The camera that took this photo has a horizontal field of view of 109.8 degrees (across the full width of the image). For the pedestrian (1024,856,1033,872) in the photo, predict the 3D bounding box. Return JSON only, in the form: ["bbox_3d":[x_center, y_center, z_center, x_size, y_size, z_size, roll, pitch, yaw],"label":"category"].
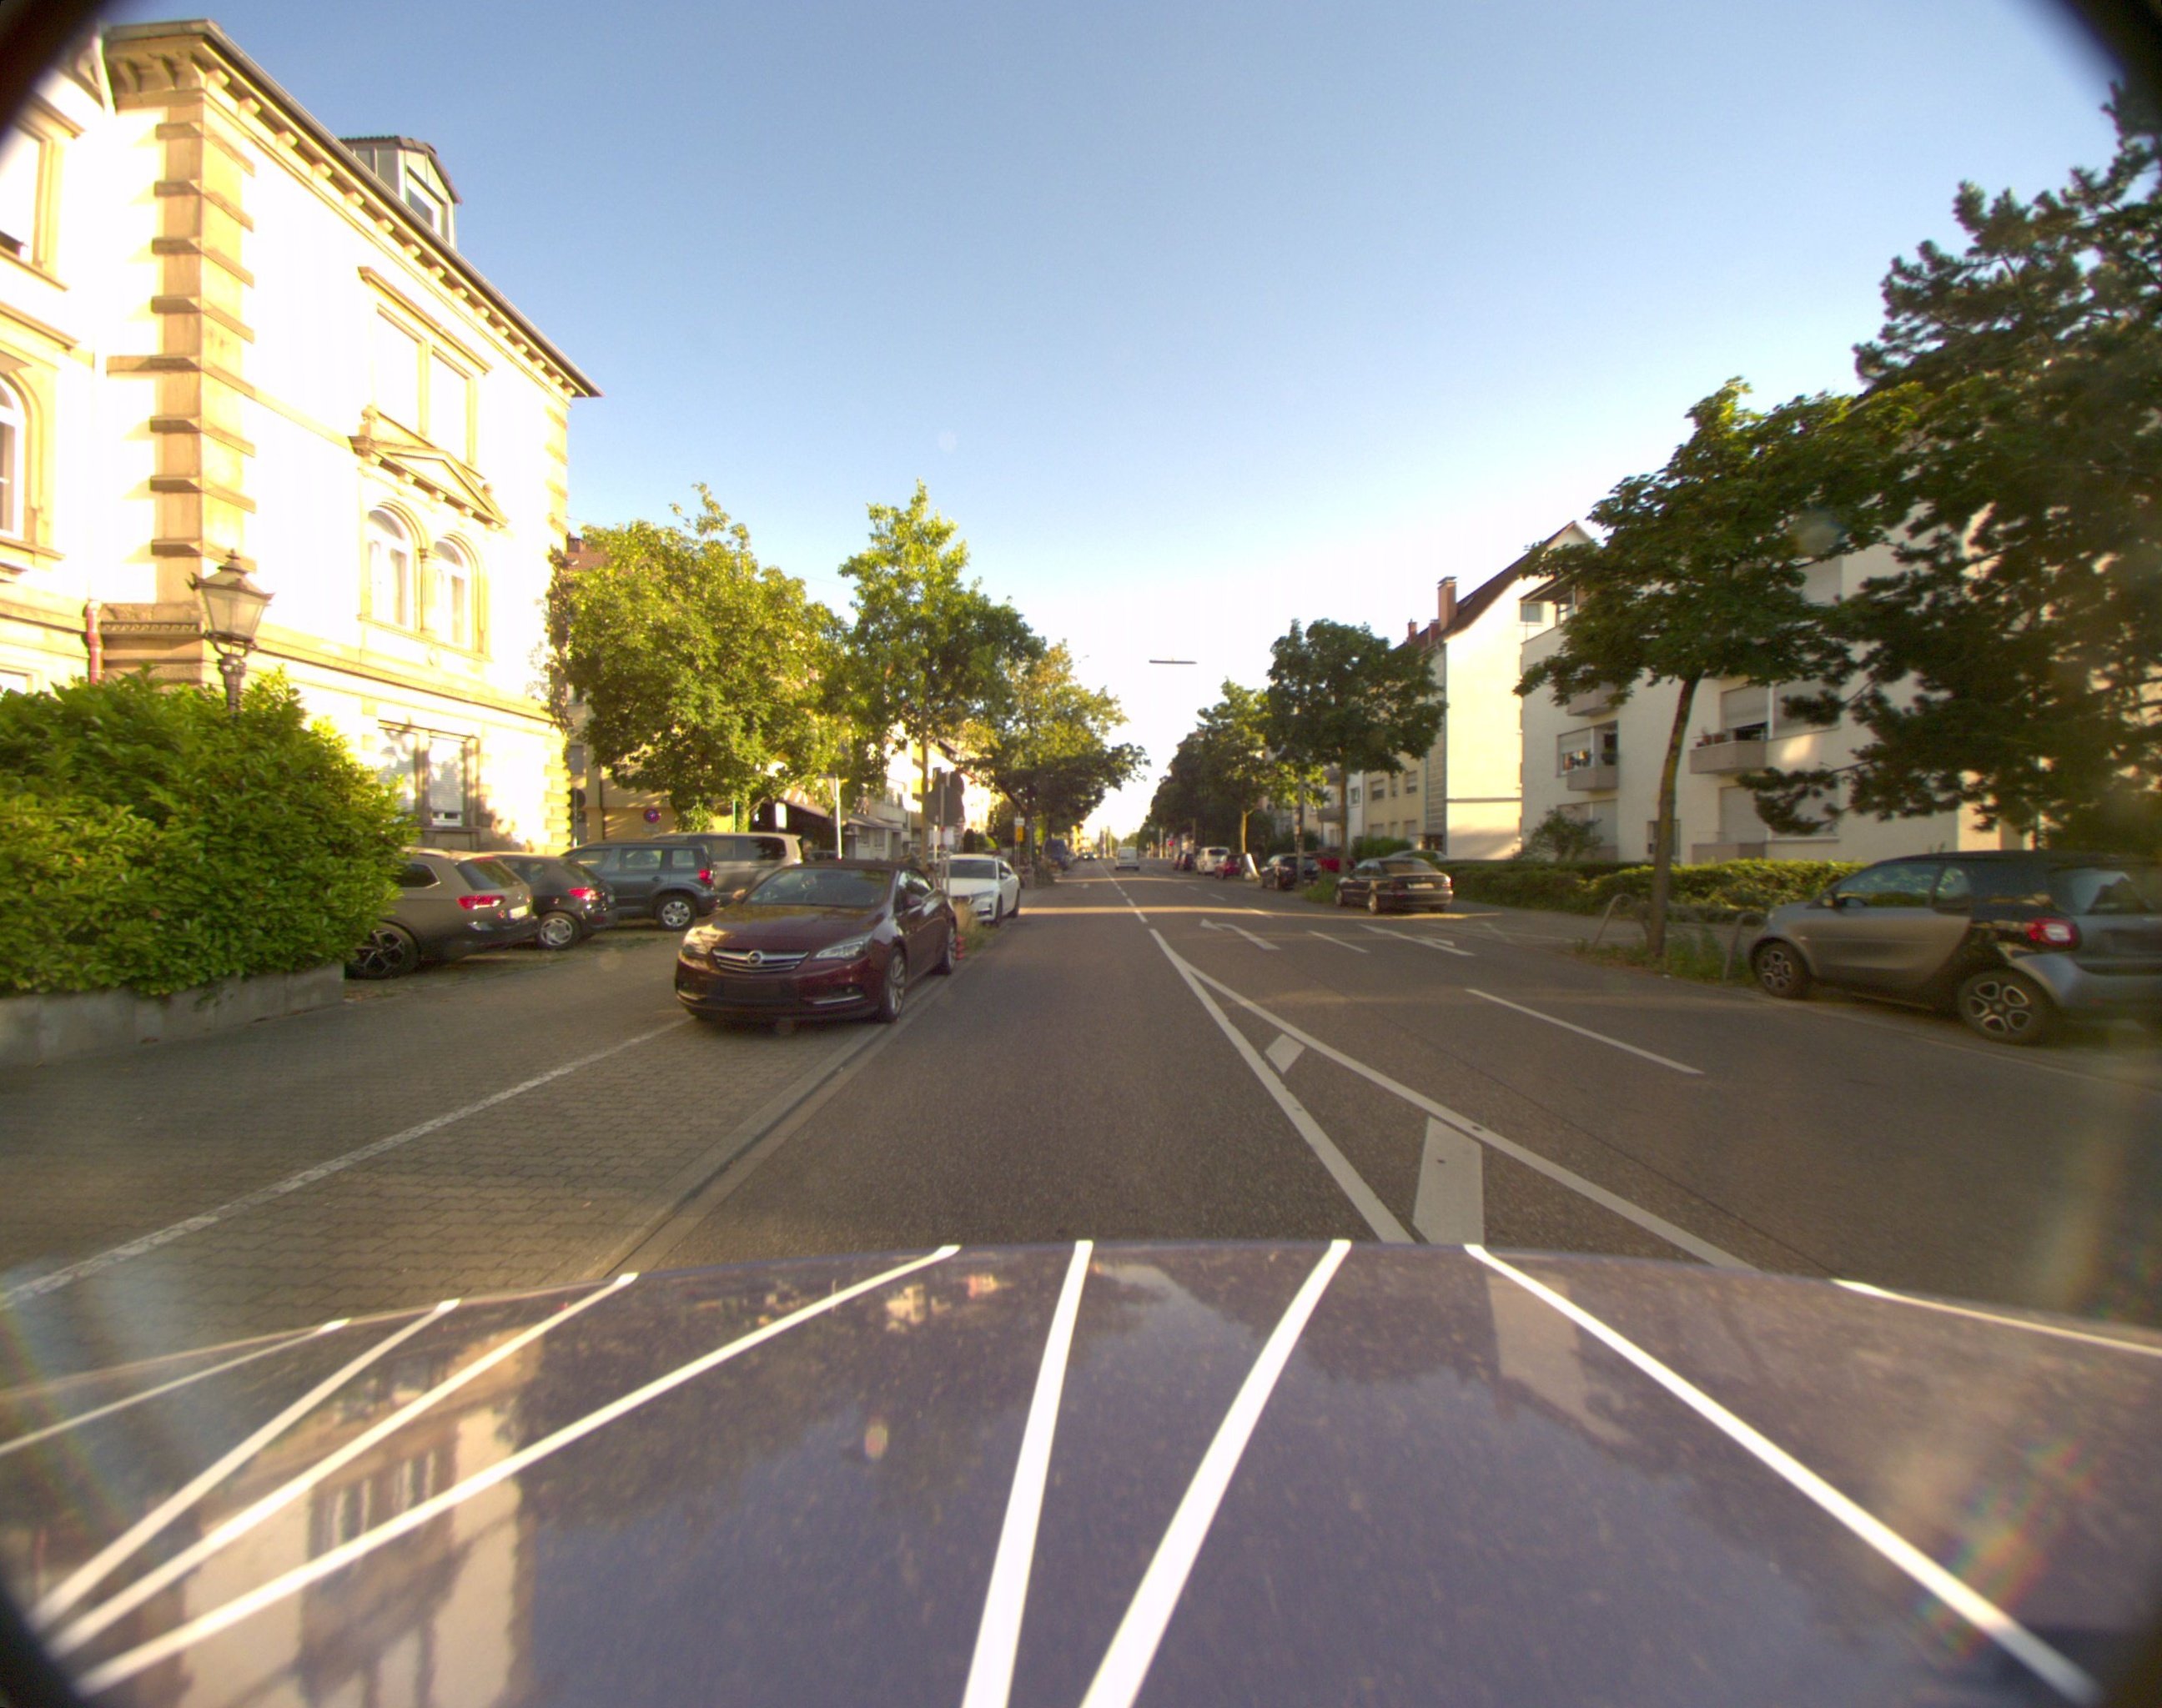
[{"bbox_3d":[-3.531,0.693,51.309,0.553,1.053,0.532,0,1,2],"label":"pedestrian"}]

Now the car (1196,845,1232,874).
[{"bbox_3d":[8.730,0.336,50.206,1.740,1.799,4.191,0,1,1],"label":"car"}]

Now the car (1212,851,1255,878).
[{"bbox_3d":[8.615,0.561,43.245,1.740,1.455,3.636,0,1,1],"label":"car"}]

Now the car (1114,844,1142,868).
[{"bbox_3d":[3.718,0.147,60.847,1.893,1.793,4.430,2,1,-1],"label":"car"}]

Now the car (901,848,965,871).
[{"bbox_3d":[-9.670,0.350,49.841,3.878,1.496,1.575,0,1,-4],"label":"car"}]

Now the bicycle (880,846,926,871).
[{"bbox_3d":[-10.223,0.252,43.703,2.459,1.433,0.928,0,1,-1],"label":"bicycle"}]

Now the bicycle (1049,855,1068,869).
[{"bbox_3d":[-1.784,0.635,59.333,1.469,1.058,0.445,0,1,1],"label":"bicycle"}]

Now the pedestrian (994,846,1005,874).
[{"bbox_3d":[-5.168,0.377,48.111,0.619,1.761,0.562,0,0,2],"label":"pedestrian"}]

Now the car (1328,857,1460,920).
[{"bbox_3d":[7.980,0.813,19.857,1.641,1.399,4.443,0,1,0],"label":"car"}]

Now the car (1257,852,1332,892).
[{"bbox_3d":[8.472,0.655,30.519,1.862,1.477,3.999,0,0,0],"label":"car"}]

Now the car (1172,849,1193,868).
[{"bbox_3d":[8.681,0.366,65.352,1.407,1.456,3.682,-2,1,2],"label":"car"}]

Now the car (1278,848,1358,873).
[{"bbox_3d":[15.070,0.392,48.453,4.563,1.397,1.739,-2,1,-9],"label":"car"}]

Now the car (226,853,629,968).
[{"bbox_3d":[-9.129,0.752,11.092,4.105,1.432,1.713,1,0,-22],"label":"car"}]

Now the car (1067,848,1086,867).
[{"bbox_3d":[-0.448,0.302,74.171,1.704,1.740,4.000,0,1,2],"label":"car"}]

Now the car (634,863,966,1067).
[{"bbox_3d":[-2.498,0.873,8.100,1.761,1.412,4.614,2,1,0],"label":"car"}]

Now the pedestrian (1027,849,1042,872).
[{"bbox_3d":[-3.053,0.421,50.011,0.917,1.436,0.811,0,1,-1],"label":"pedestrian"}]

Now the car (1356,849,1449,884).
[{"bbox_3d":[14.435,0.537,34.264,3.467,1.515,1.686,0,1,2],"label":"car"}]

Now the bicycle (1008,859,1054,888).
[{"bbox_3d":[-2.172,0.833,32.741,1.894,1.155,0.616,2,2,28],"label":"bicycle"}]

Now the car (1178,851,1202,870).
[{"bbox_3d":[8.738,0.511,61.118,1.407,1.397,3.682,-2,1,2],"label":"car"}]

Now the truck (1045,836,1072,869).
[{"bbox_3d":[-1.800,-0.133,62.930,1.998,2.629,5.615,0,1,1],"label":"truck"}]

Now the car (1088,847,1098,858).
[{"bbox_3d":[1.874,-0.268,119.557,1.596,1.696,4.000,0,1,1],"label":"car"}]

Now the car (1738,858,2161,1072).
[{"bbox_3d":[8.062,0.835,7.025,1.577,1.546,2.749,0,1,0],"label":"car"}]

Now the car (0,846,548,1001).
[{"bbox_3d":[-8.988,0.721,8.792,4.255,1.502,1.789,1,0,-17],"label":"car"}]

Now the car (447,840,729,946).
[{"bbox_3d":[-8.768,0.627,13.925,4.106,1.690,1.783,0,1,-29],"label":"car"}]

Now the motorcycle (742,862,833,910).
[{"bbox_3d":[-7.931,0.848,20.633,2.163,1.232,0.789,0,1,-9],"label":"motorcycle"}]

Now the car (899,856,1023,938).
[{"bbox_3d":[-2.397,0.805,16.362,1.825,1.469,4.621,0,1,1],"label":"car"}]

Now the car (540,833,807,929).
[{"bbox_3d":[-8.846,0.509,16.912,4.946,1.888,1.916,-1,1,-28],"label":"car"}]
